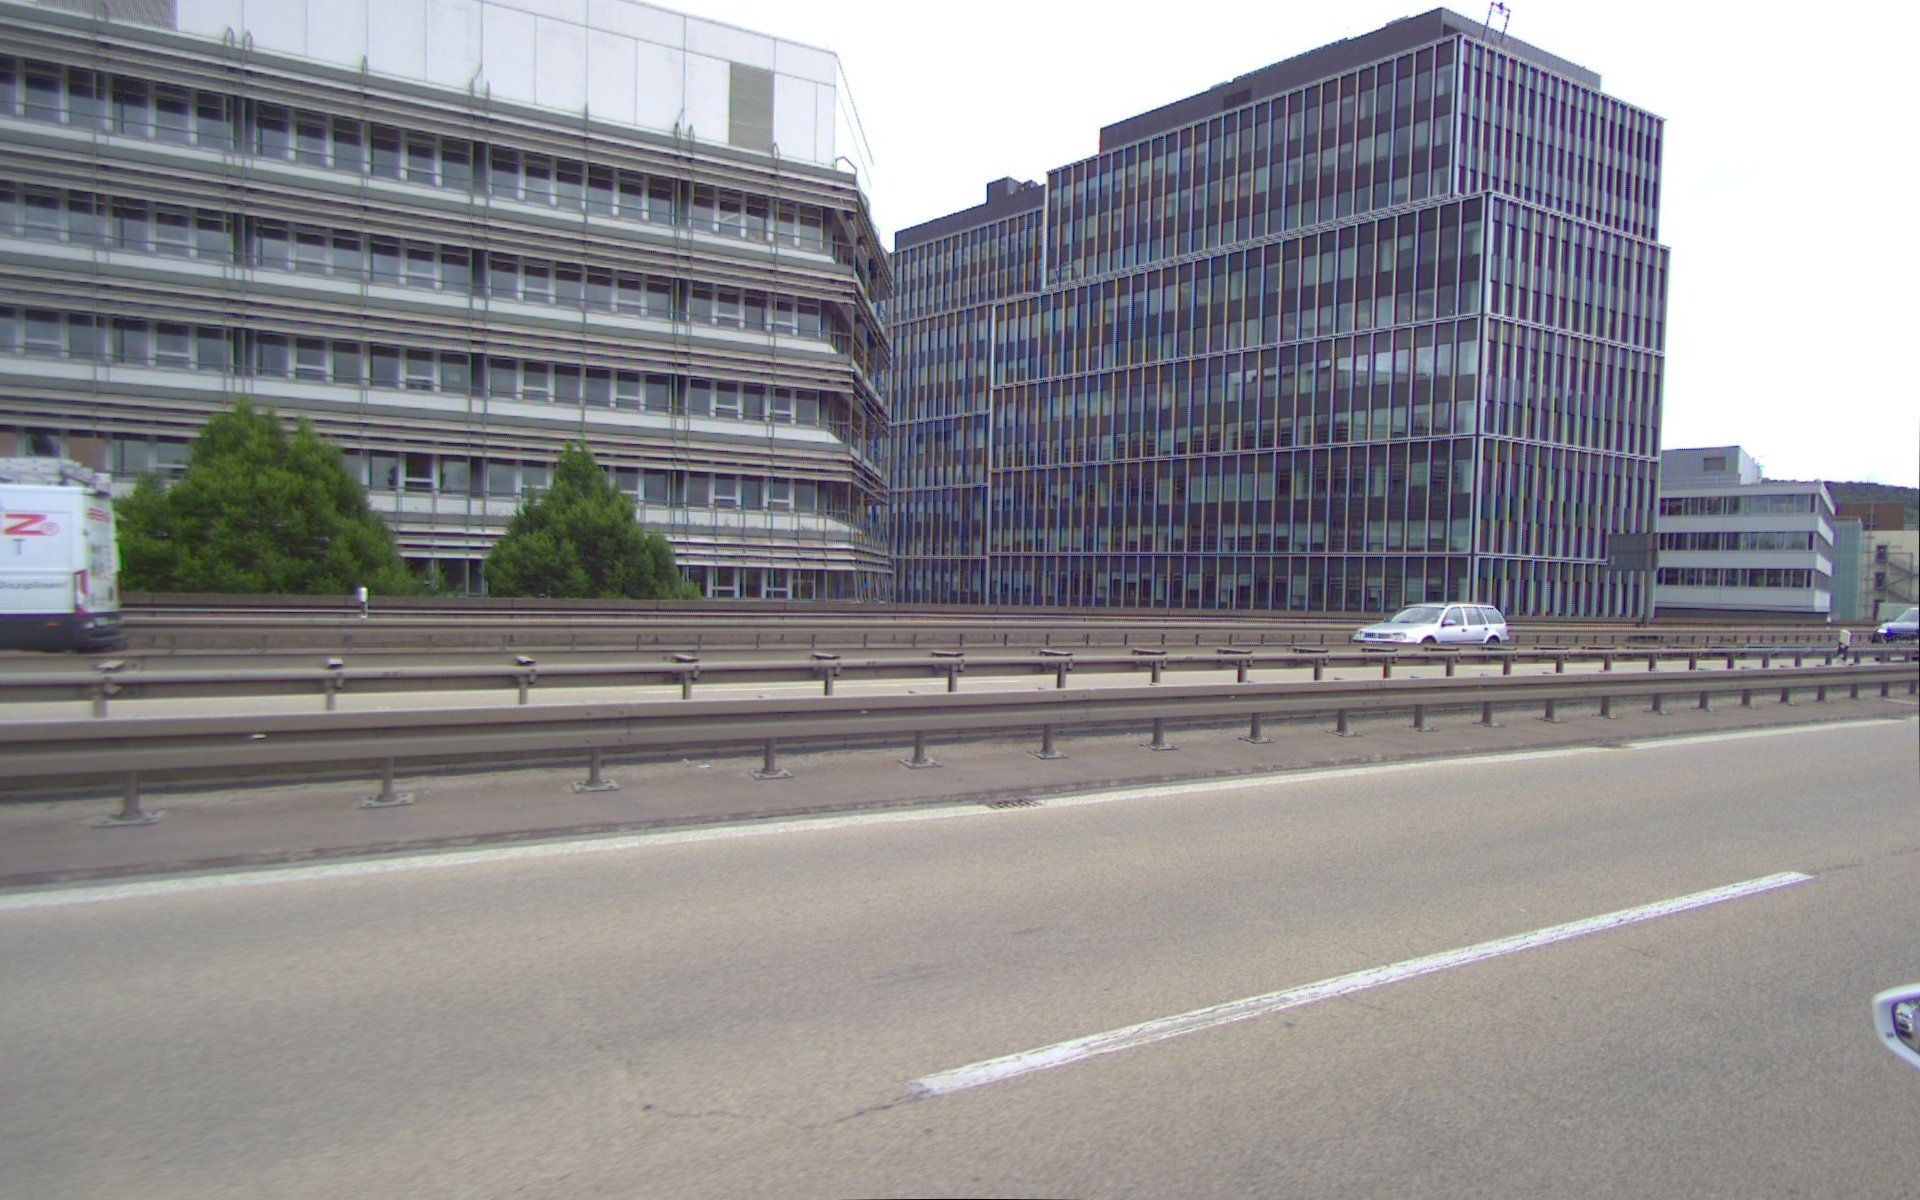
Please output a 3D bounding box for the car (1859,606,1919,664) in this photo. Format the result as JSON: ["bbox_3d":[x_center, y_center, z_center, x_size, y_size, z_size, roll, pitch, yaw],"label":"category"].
[{"bbox_3d":[30.202,1.109,31.388,4.282,1.672,1.754,2,1,-29],"label":"car"}]

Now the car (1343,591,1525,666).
[{"bbox_3d":[11.478,0.695,24.273,4.393,1.672,1.676,2,1,-28],"label":"car"}]

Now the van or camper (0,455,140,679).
[{"bbox_3d":[-15.708,-0.500,13.403,7.030,3.048,2.162,1,0,-29],"label":"van or camper"}]
